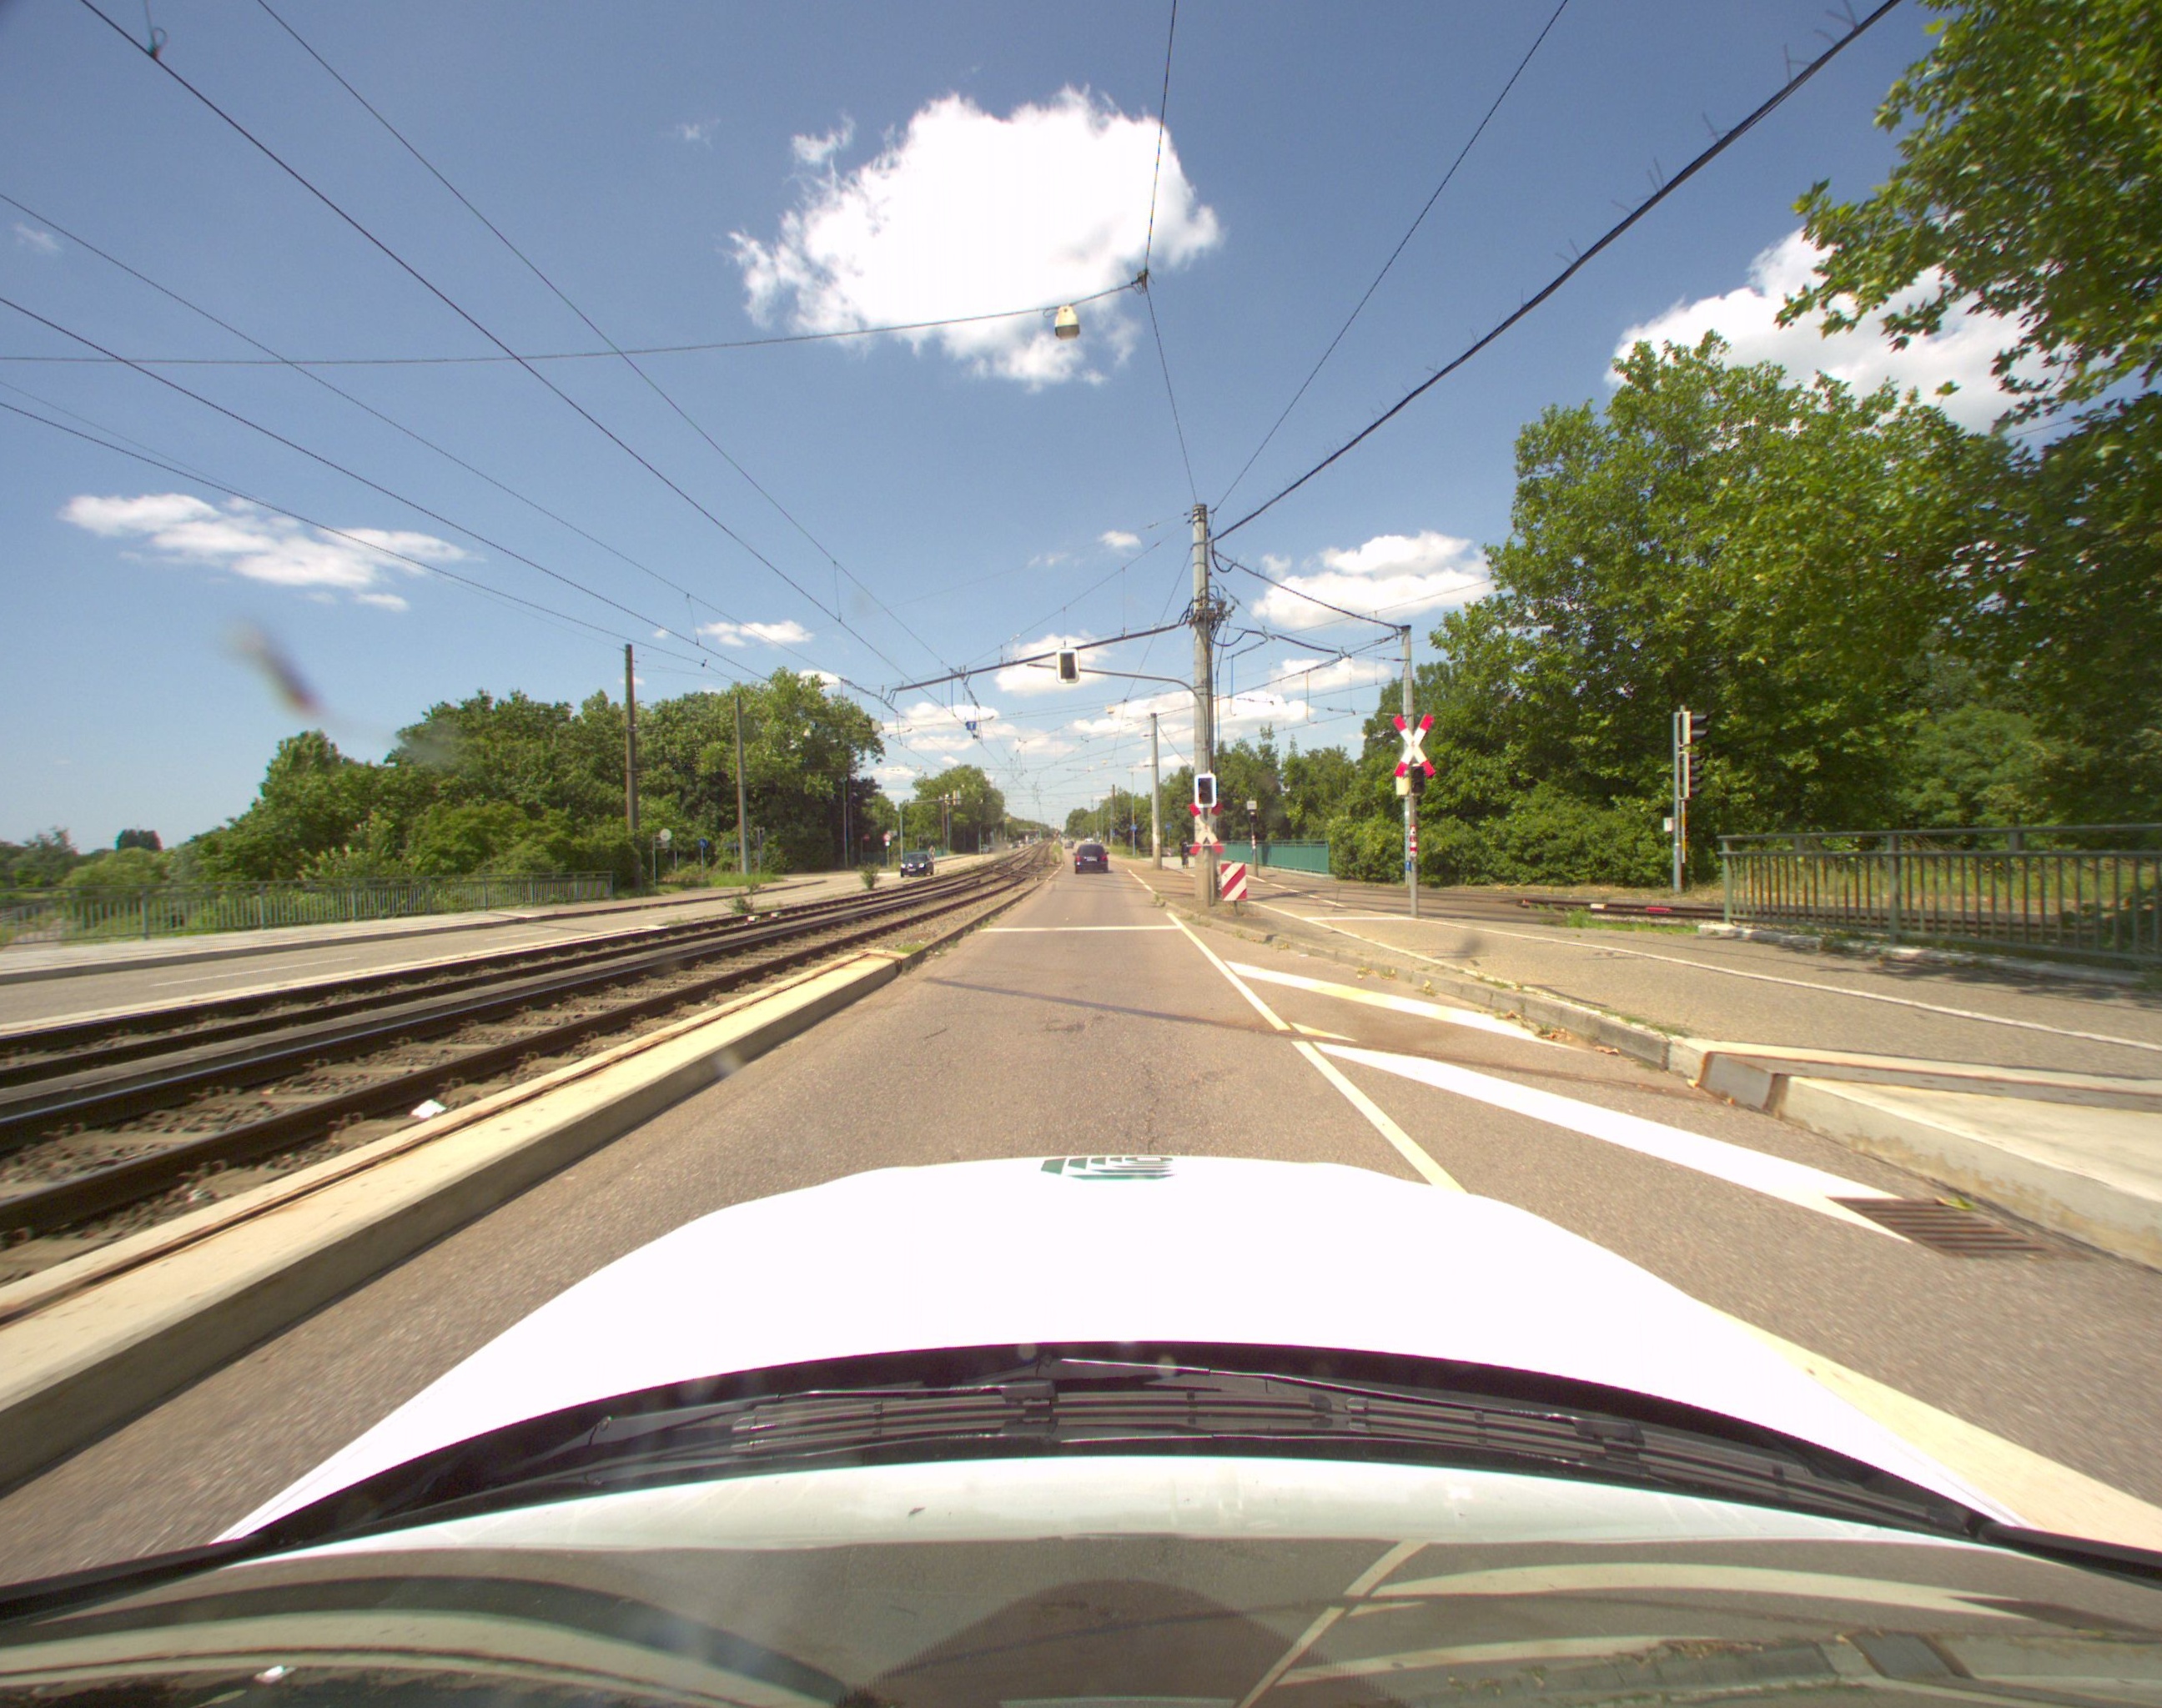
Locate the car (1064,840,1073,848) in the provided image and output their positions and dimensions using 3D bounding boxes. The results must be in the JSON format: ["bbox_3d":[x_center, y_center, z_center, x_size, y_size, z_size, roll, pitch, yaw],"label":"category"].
[{"bbox_3d":[-2.839,-2.324,184.098,1.877,1.639,4.003,2,2,2],"label":"car"}]

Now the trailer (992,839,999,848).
[{"bbox_3d":[-19.731,-2.421,188.234,1.607,2.013,3.910,0,2,-5],"label":"trailer"}]

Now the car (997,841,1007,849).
[{"bbox_3d":[-19.556,-2.207,201.280,1.987,2.013,3.999,-2,0,-1],"label":"car"}]

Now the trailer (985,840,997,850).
[{"bbox_3d":[-18.557,-1.881,167.836,2.458,1.888,5.950,-1,1,-6],"label":"trailer"}]

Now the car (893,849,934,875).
[{"bbox_3d":[-10.915,0.472,53.316,1.698,1.510,3.736,-2,1,3],"label":"car"}]

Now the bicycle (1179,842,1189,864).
[{"bbox_3d":[5.796,-0.075,45.964,0.430,1.152,1.857,0,2,3],"label":"bicycle"}]

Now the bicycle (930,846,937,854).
[{"bbox_3d":[-17.548,-0.488,97.183,0.467,0.868,1.743,-1,1,1],"label":"bicycle"}]

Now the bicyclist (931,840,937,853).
[{"bbox_3d":[-17.553,-0.882,97.247,0.455,1.474,0.633,-1,1,1],"label":"bicyclist"}]

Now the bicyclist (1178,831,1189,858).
[{"bbox_3d":[5.786,-0.524,45.896,0.583,1.494,0.558,0,2,3],"label":"bicyclist"}]

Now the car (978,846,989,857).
[{"bbox_3d":[-18.243,-0.453,152.308,1.716,1.630,4.613,-4,3,-3],"label":"car"}]

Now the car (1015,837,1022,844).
[{"bbox_3d":[-17.959,-3.907,234.503,1.870,1.720,5.326,-1,1,-2],"label":"car"}]

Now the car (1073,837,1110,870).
[{"bbox_3d":[0.607,-0.074,43.943,1.846,1.569,4.391,-1,3,2],"label":"car"}]
